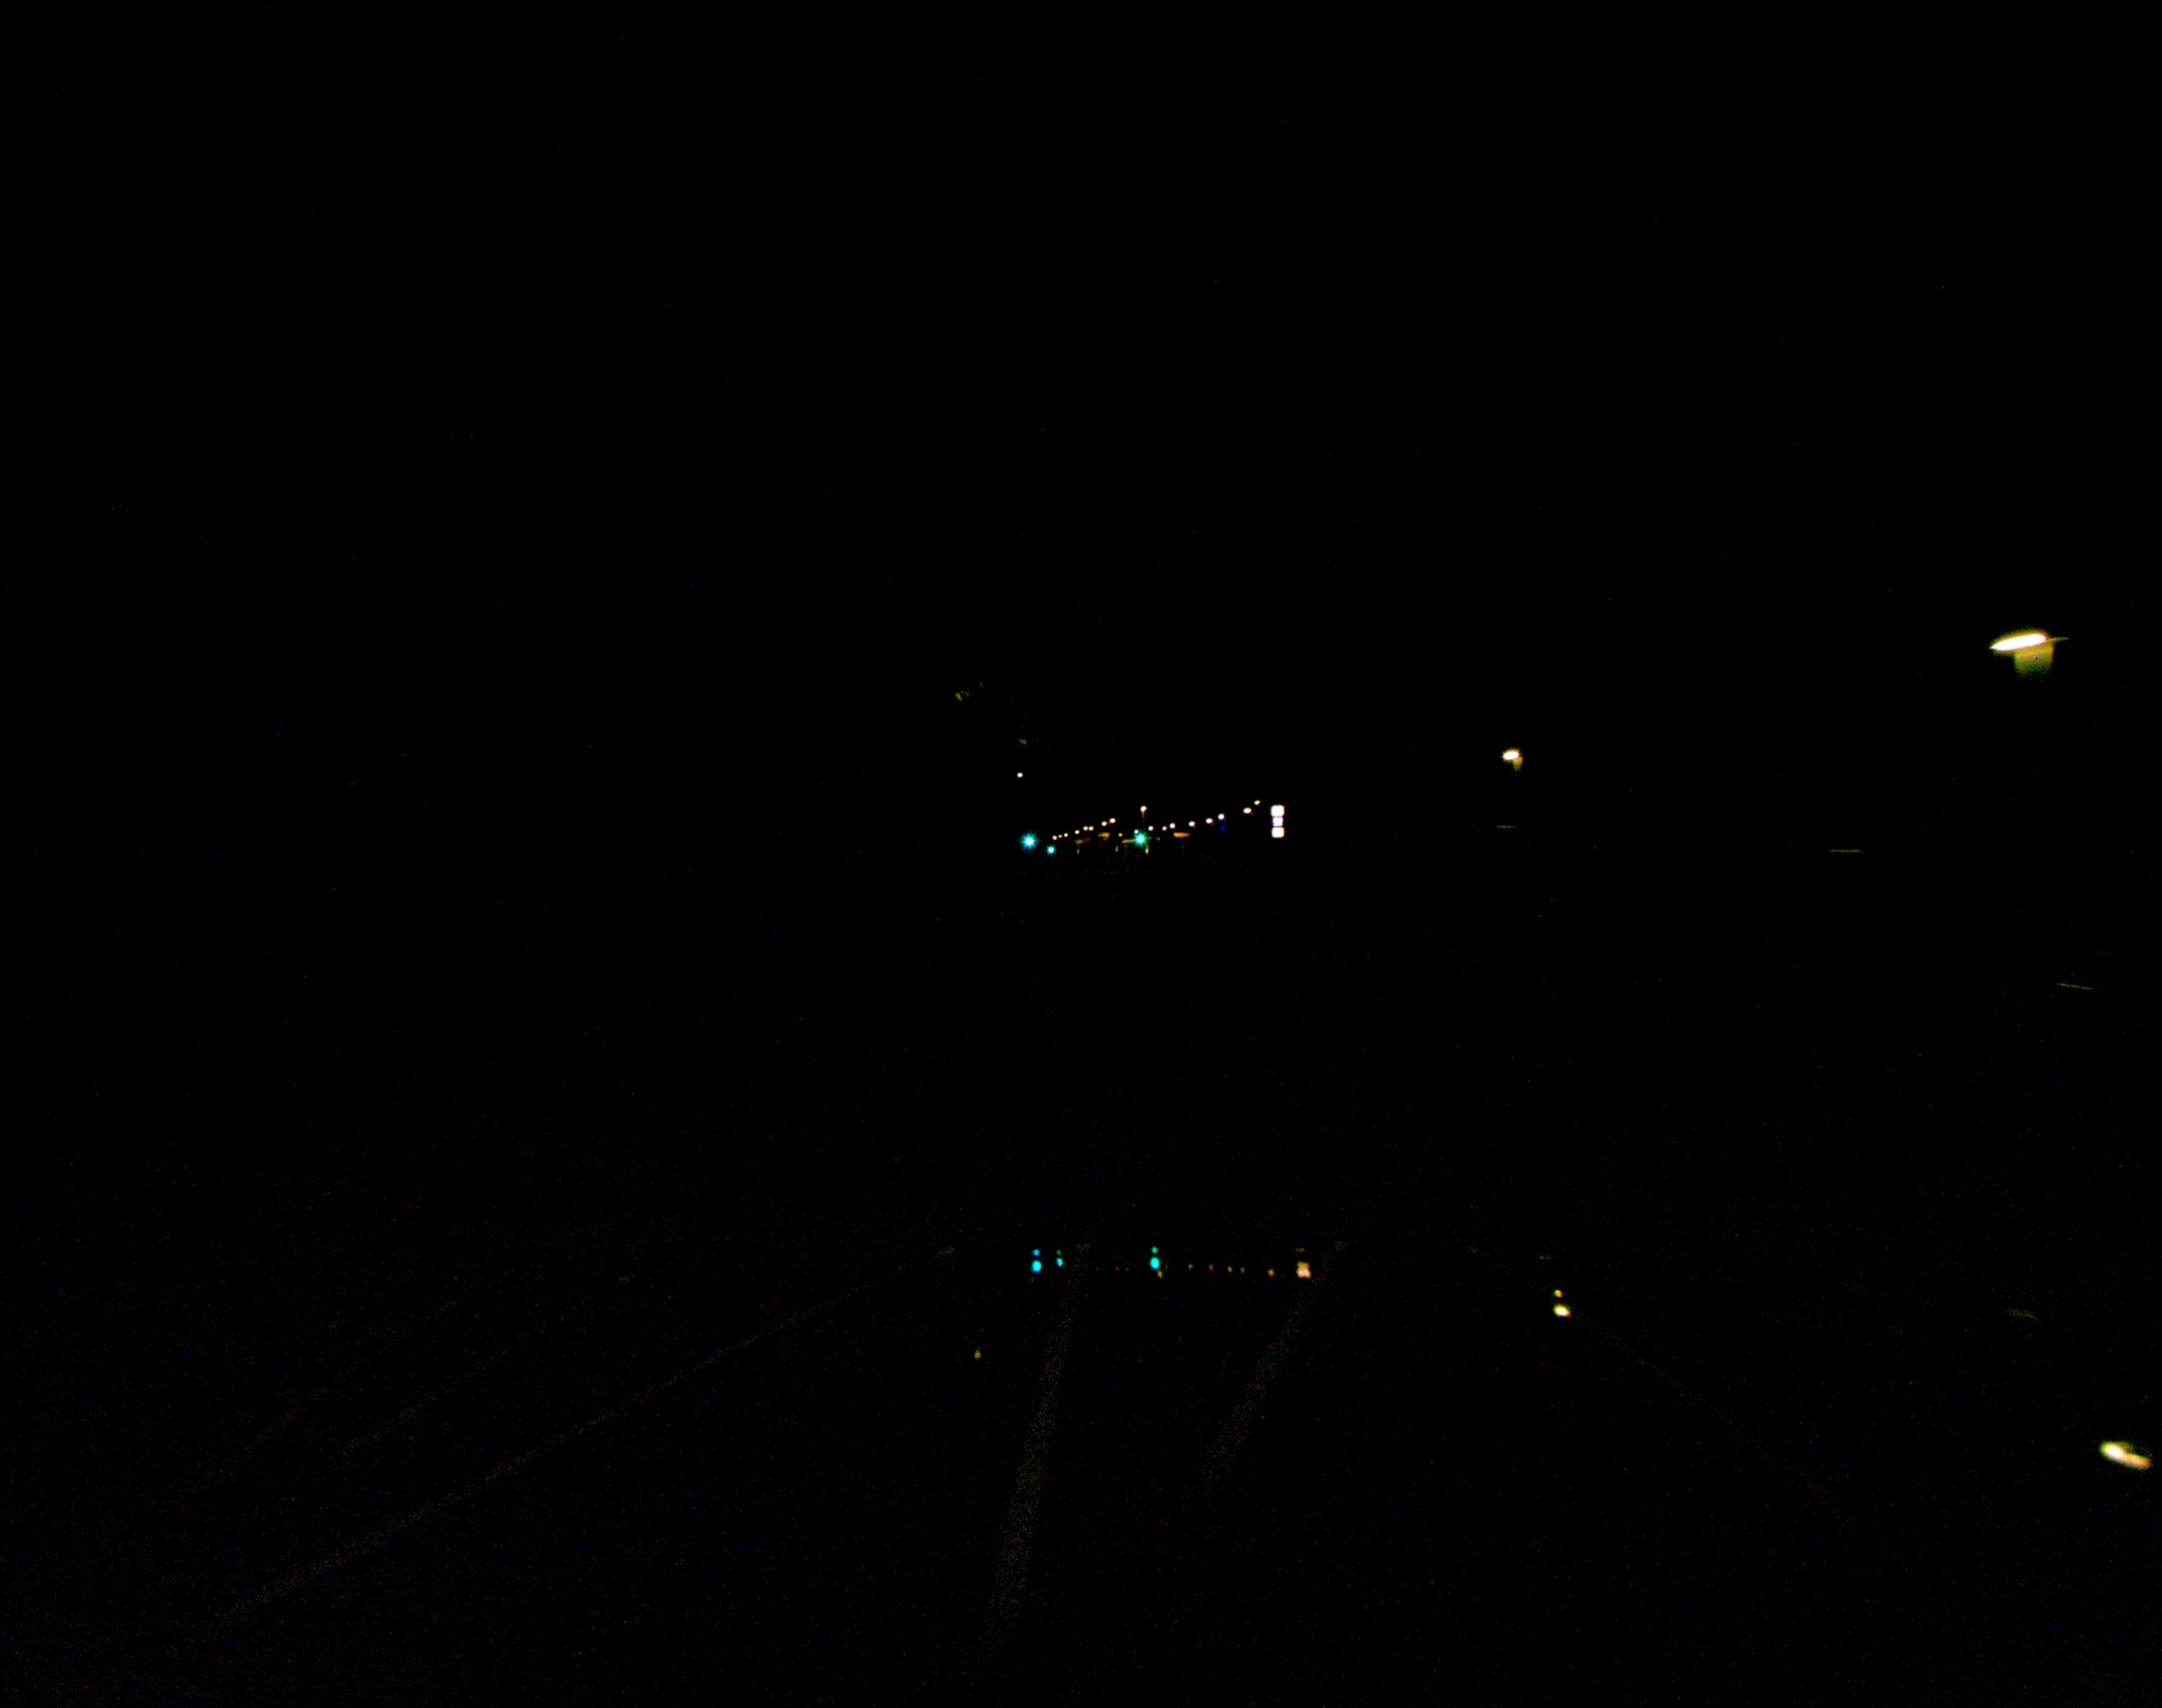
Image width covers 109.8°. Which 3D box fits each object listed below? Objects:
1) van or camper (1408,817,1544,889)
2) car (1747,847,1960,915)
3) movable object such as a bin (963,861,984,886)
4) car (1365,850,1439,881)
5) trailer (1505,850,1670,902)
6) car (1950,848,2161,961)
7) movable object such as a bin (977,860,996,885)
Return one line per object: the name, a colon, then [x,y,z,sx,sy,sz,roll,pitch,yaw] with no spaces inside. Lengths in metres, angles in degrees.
van or camper: [15.922,-0.042,31.110,2.279,2.632,5.661,1,0,-4]
car: [16.109,0.529,15.928,3.037,1.318,1.533,-1,1,-4]
movable object such as a bin: [-4.971,0.901,35.125,0.724,1.115,0.894,0,1,7]
car: [15.766,0.537,37.570,1.650,1.332,4.542,3,0,-1]
trailer: [16.092,0.628,24.550,2.424,1.367,4.656,3,1,5]
car: [15.759,0.697,10.426,1.906,1.513,5.172,-1,1,3]
movable object such as a bin: [-4.451,0.872,35.959,0.725,1.194,0.720,0,1,7]
